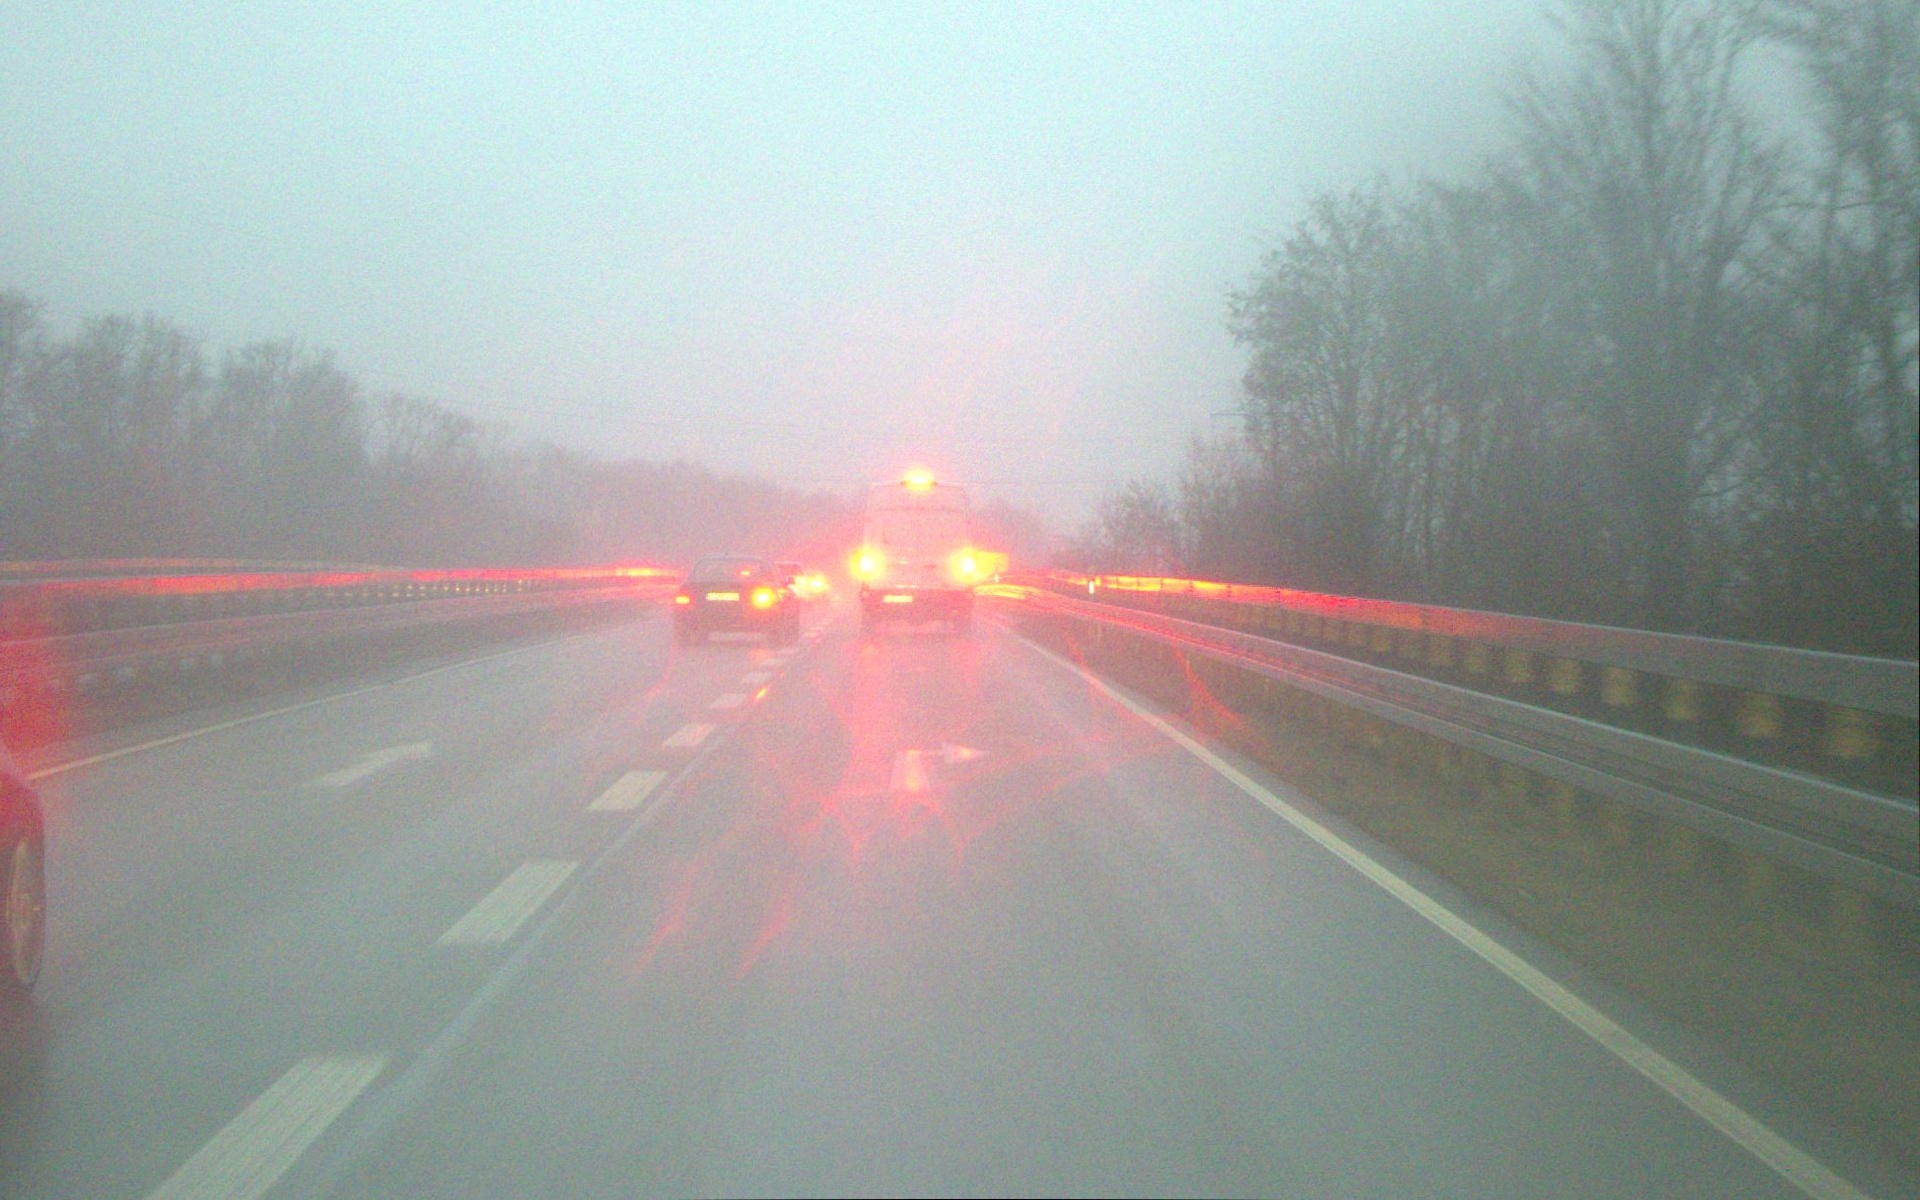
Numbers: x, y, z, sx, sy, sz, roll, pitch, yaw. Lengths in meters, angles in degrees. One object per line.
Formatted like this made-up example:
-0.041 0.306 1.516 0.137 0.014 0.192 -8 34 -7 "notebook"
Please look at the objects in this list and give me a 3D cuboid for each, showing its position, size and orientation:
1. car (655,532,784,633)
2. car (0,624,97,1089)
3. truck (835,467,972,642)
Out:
-3.854 -0.254 55.643 1.834 1.532 4.000 1 -1 -1 "car"
-3.689 0.790 10.139 1.625 1.387 4.000 -2 -1 -6 "car"
-1.020 -0.768 62.270 2.382 2.899 4.674 0 -3 -1 "truck"
